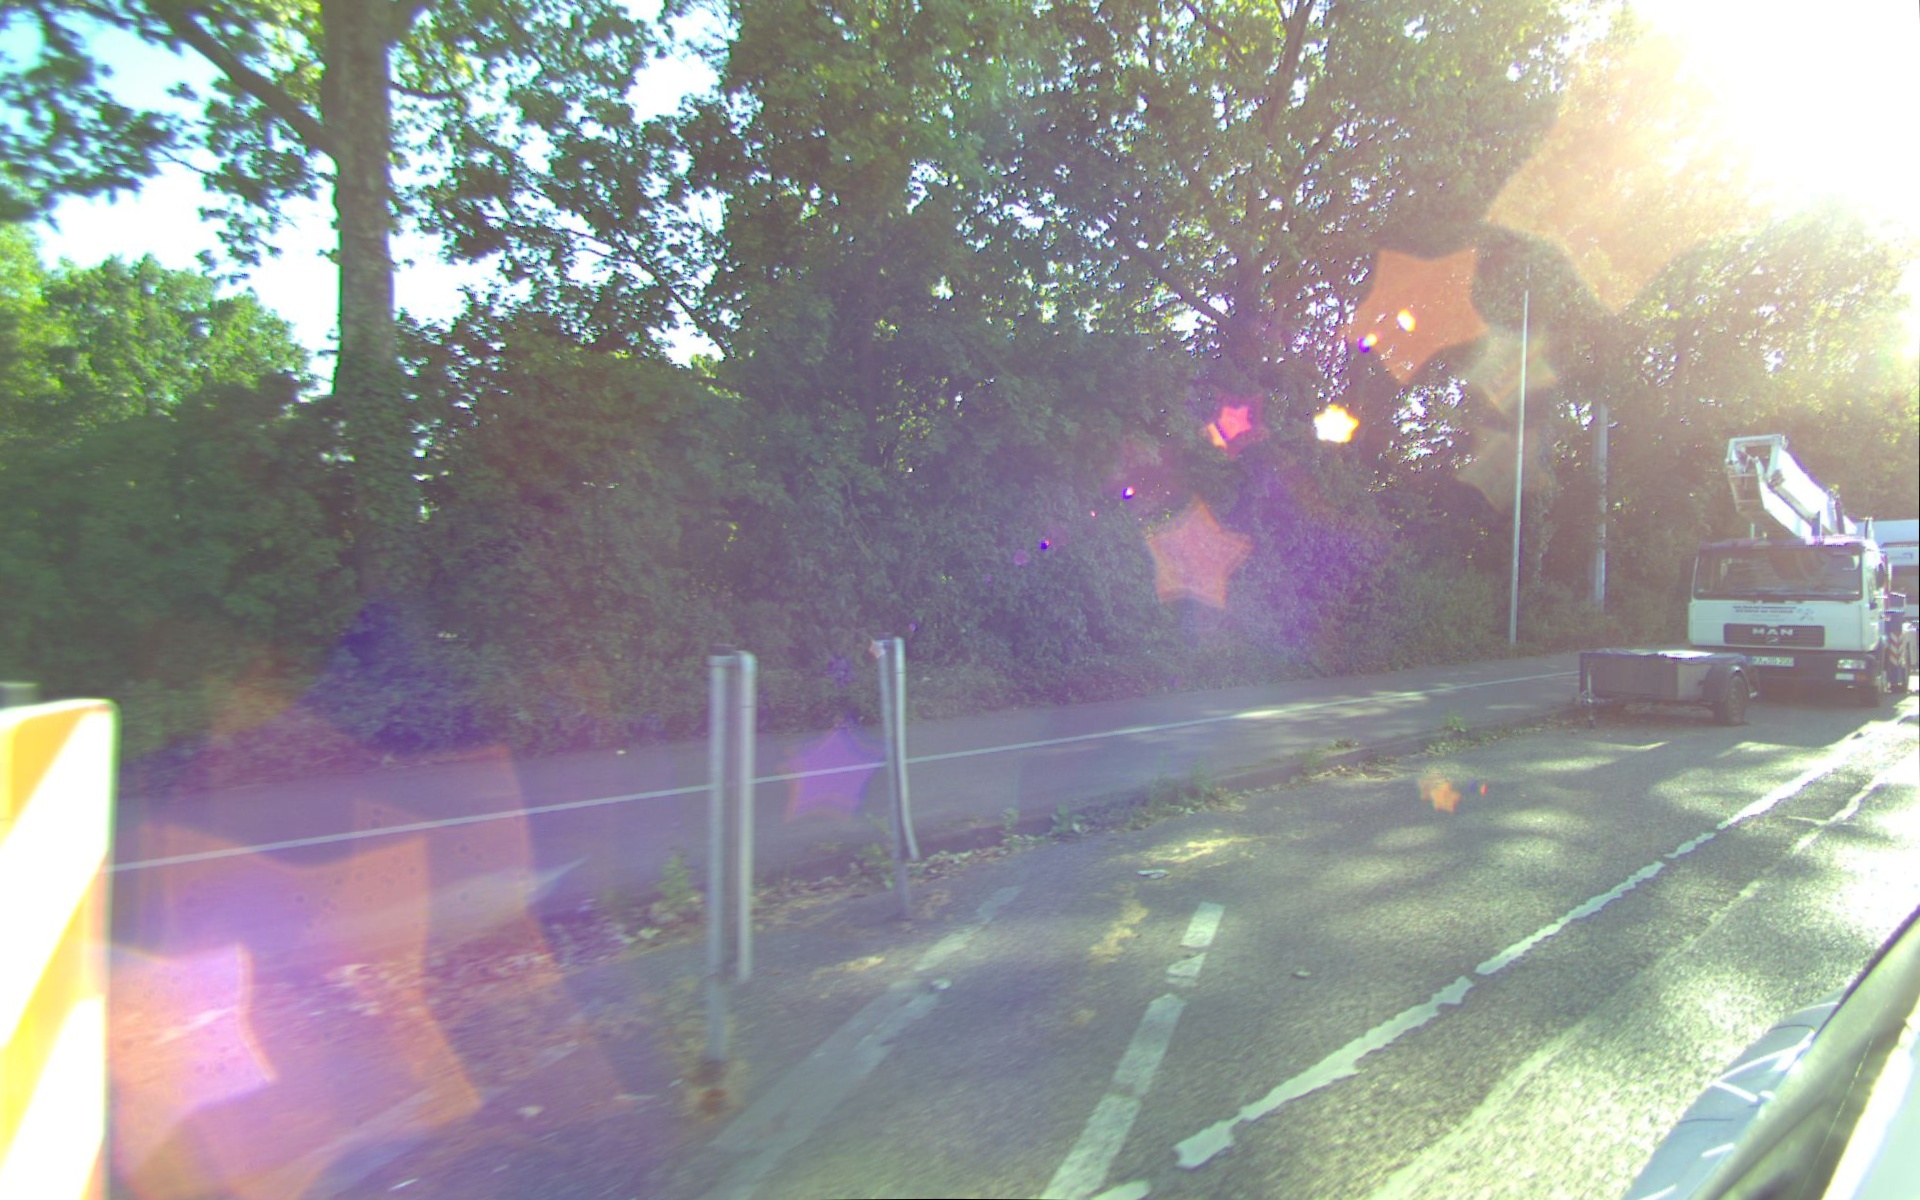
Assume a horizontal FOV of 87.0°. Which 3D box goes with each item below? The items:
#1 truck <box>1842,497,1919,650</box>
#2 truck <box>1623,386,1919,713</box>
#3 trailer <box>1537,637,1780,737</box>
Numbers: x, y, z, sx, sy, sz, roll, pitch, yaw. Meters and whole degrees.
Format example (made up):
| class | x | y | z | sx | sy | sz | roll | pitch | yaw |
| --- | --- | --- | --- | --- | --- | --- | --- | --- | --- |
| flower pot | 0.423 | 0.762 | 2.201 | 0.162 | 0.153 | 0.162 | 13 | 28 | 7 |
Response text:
| class | x | y | z | sx | sy | sz | roll | pitch | yaw |
| --- | --- | --- | --- | --- | --- | --- | --- | --- | --- |
| truck | 27.709 | -0.673 | 28.708 | 9.913 | 3.831 | 2.746 | 0 | 0 | -41 |
| truck | 13.627 | -0.611 | 16.072 | 9.591 | 3.831 | 2.721 | 0 | 0 | -41 |
| trailer | 8.402 | 0.948 | 12.080 | 3.440 | 0.870 | 1.579 | 0 | 1 | -41 |
